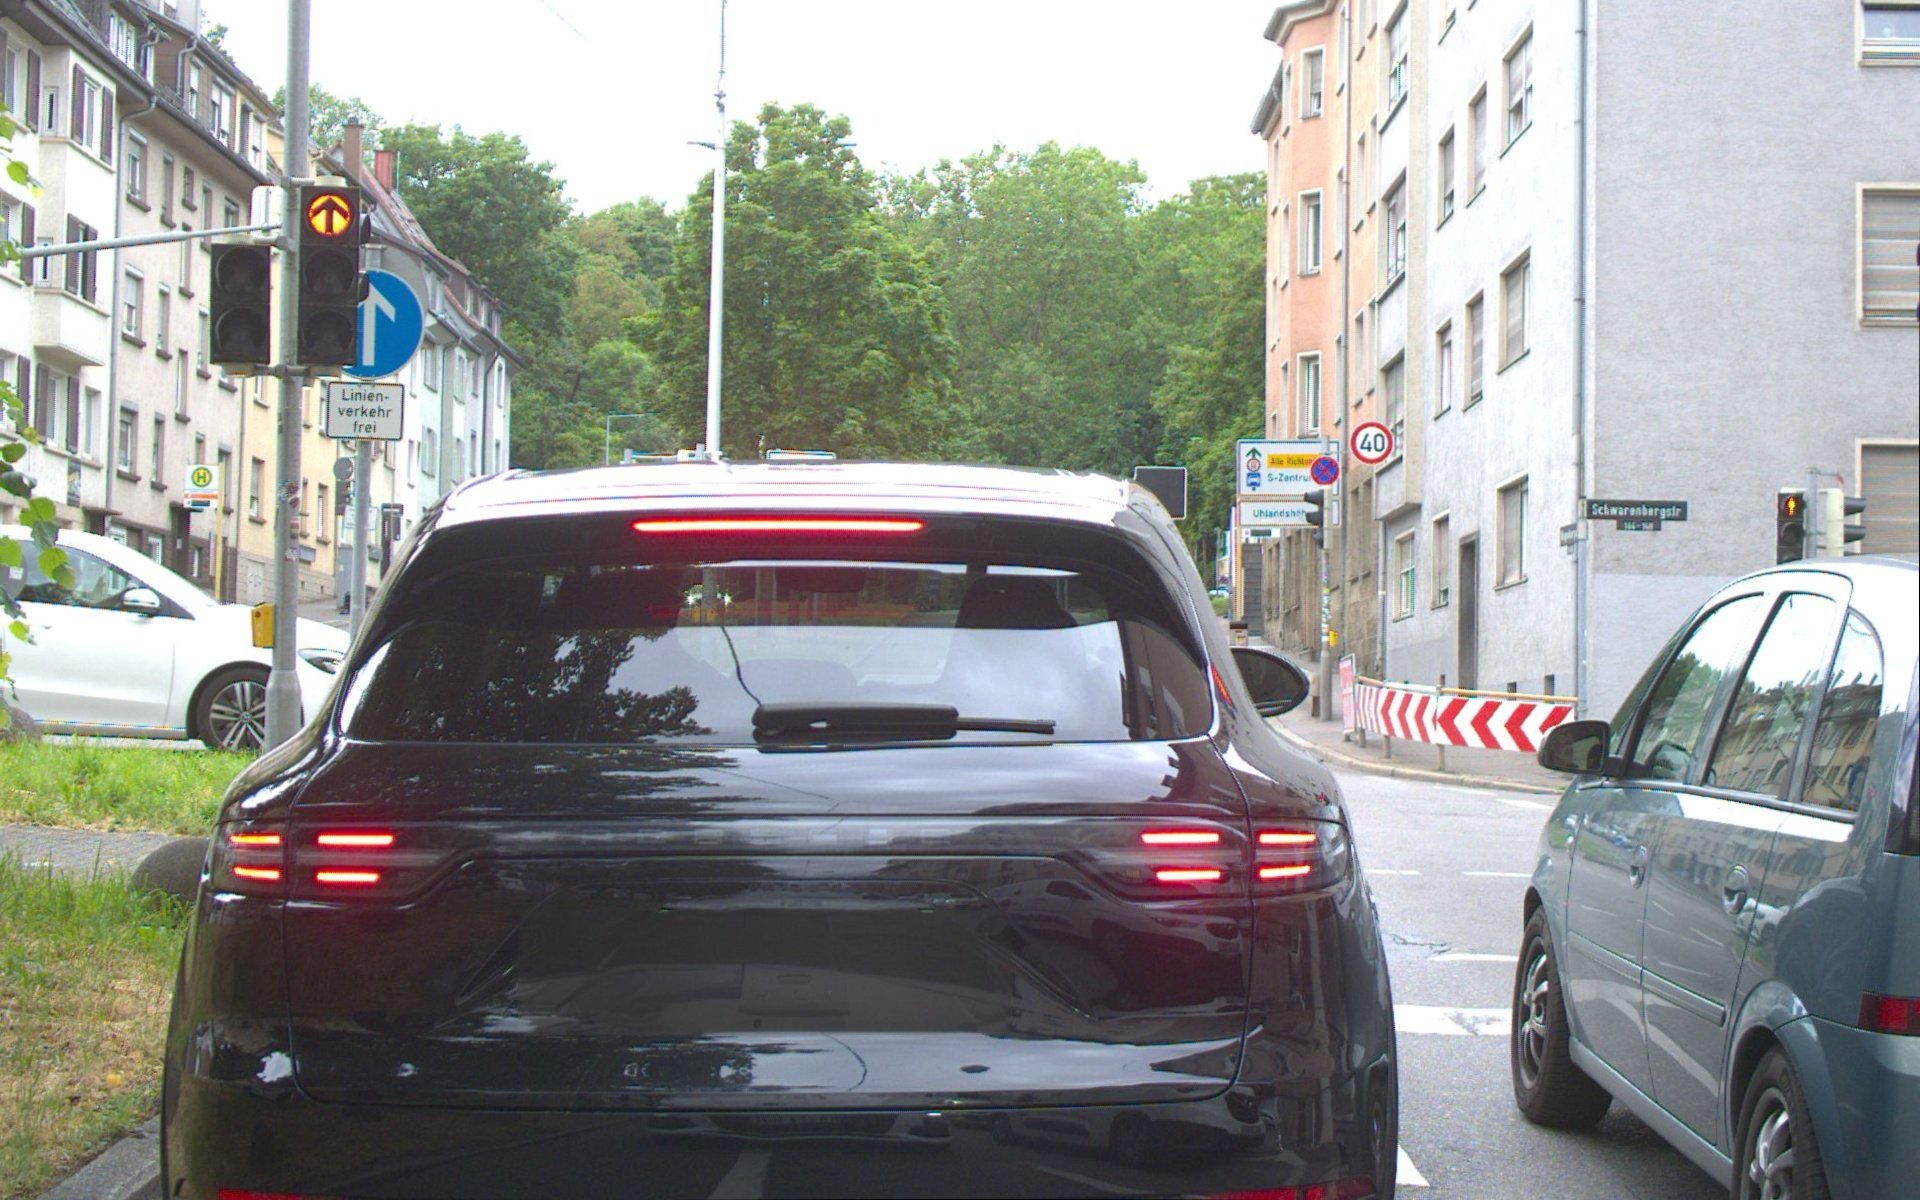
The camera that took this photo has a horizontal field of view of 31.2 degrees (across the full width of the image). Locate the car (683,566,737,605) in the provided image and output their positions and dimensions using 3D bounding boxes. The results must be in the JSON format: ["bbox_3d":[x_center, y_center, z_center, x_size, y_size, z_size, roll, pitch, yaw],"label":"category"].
[{"bbox_3d":[-10.586,-0.641,145.702,1.974,1.605,4.558,1,1,0],"label":"car"}]

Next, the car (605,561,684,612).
[{"bbox_3d":[-8.948,-0.401,97.739,1.862,1.383,4.094,1,1,0],"label":"car"}]

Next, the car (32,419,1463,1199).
[{"bbox_3d":[-0.314,0.568,6.706,1.955,1.669,4.000,0,1,-1],"label":"car"}]

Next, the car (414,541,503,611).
[{"bbox_3d":[-15.190,-0.731,104.300,2.016,2.038,4.667,1,1,0],"label":"car"}]

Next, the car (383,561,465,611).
[{"bbox_3d":[-15.402,-0.417,98.917,1.739,1.382,3.814,1,1,0],"label":"car"}]

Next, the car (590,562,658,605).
[{"bbox_3d":[-11.948,-0.588,122.364,1.844,1.481,3.897,1,1,2],"label":"car"}]

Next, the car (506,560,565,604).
[{"bbox_3d":[-15.403,-0.667,124.853,1.689,1.533,3.814,1,1,0],"label":"car"}]

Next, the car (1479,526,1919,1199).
[{"bbox_3d":[2.351,0.699,7.879,1.628,1.592,3.669,4,1,-1],"label":"car"}]

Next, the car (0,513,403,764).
[{"bbox_3d":[-6.016,0.233,23.463,4.250,1.589,1.691,2,0,-6],"label":"car"}]
